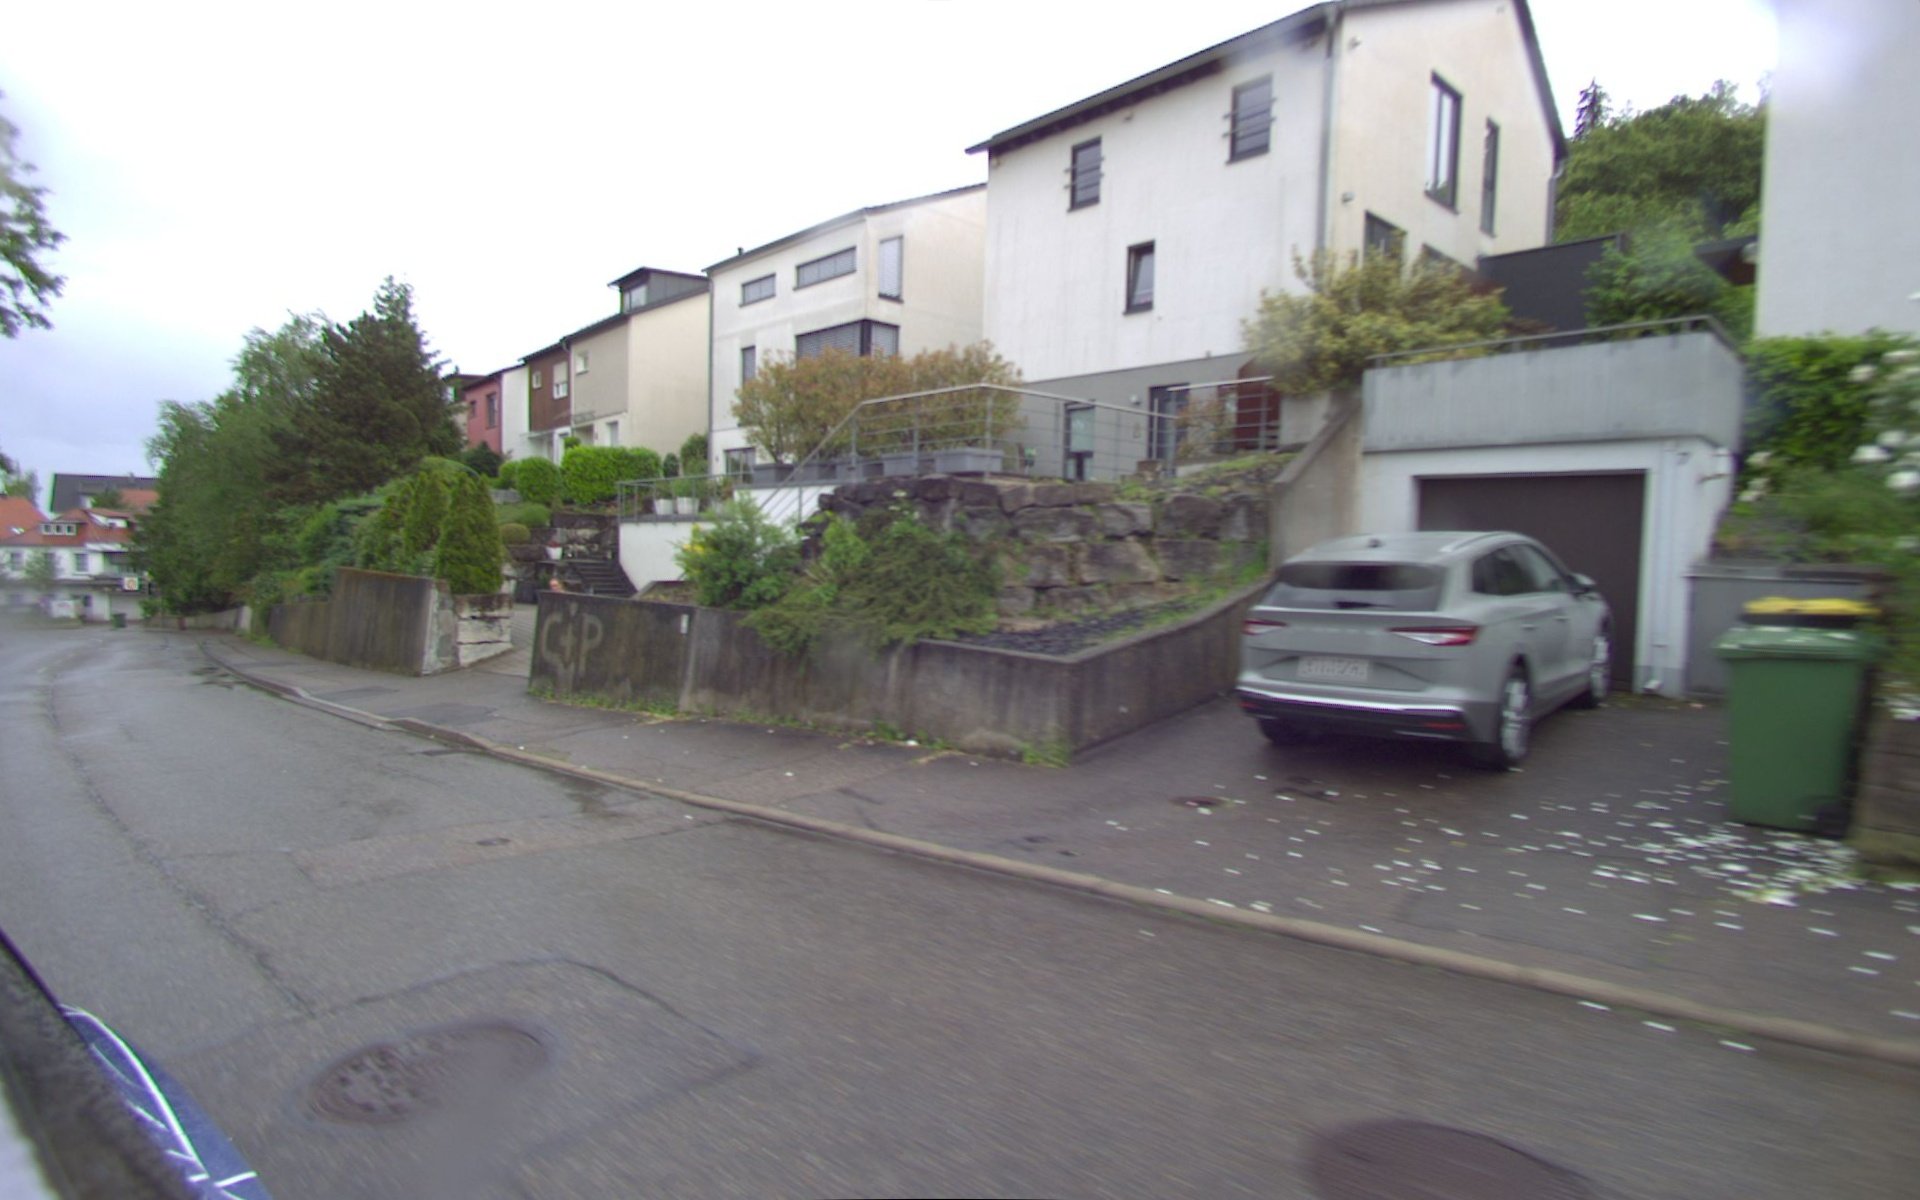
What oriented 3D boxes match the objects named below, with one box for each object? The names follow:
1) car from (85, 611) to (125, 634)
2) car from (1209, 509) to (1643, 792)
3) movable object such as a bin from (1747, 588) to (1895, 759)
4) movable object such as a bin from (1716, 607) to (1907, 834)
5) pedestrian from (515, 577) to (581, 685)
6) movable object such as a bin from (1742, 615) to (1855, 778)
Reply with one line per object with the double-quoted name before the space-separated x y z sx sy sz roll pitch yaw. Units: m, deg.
"car" -62.227 1.623 73.636 3.993 1.511 1.737 -1 1 43
"car" 4.035 0.161 8.288 1.932 1.626 4.462 -1 4 42
"movable object such as a bin" 5.719 0.463 6.738 0.710 1.026 0.532 -1 4 41
"movable object such as a bin" 4.604 0.613 5.492 0.743 1.083 0.532 -1 6 41
"pedestrian" -6.559 0.487 16.115 0.732 1.661 0.649 -3 -1 40
"movable object such as a bin" 5.301 0.584 6.395 0.495 0.931 0.479 -1 5 45
